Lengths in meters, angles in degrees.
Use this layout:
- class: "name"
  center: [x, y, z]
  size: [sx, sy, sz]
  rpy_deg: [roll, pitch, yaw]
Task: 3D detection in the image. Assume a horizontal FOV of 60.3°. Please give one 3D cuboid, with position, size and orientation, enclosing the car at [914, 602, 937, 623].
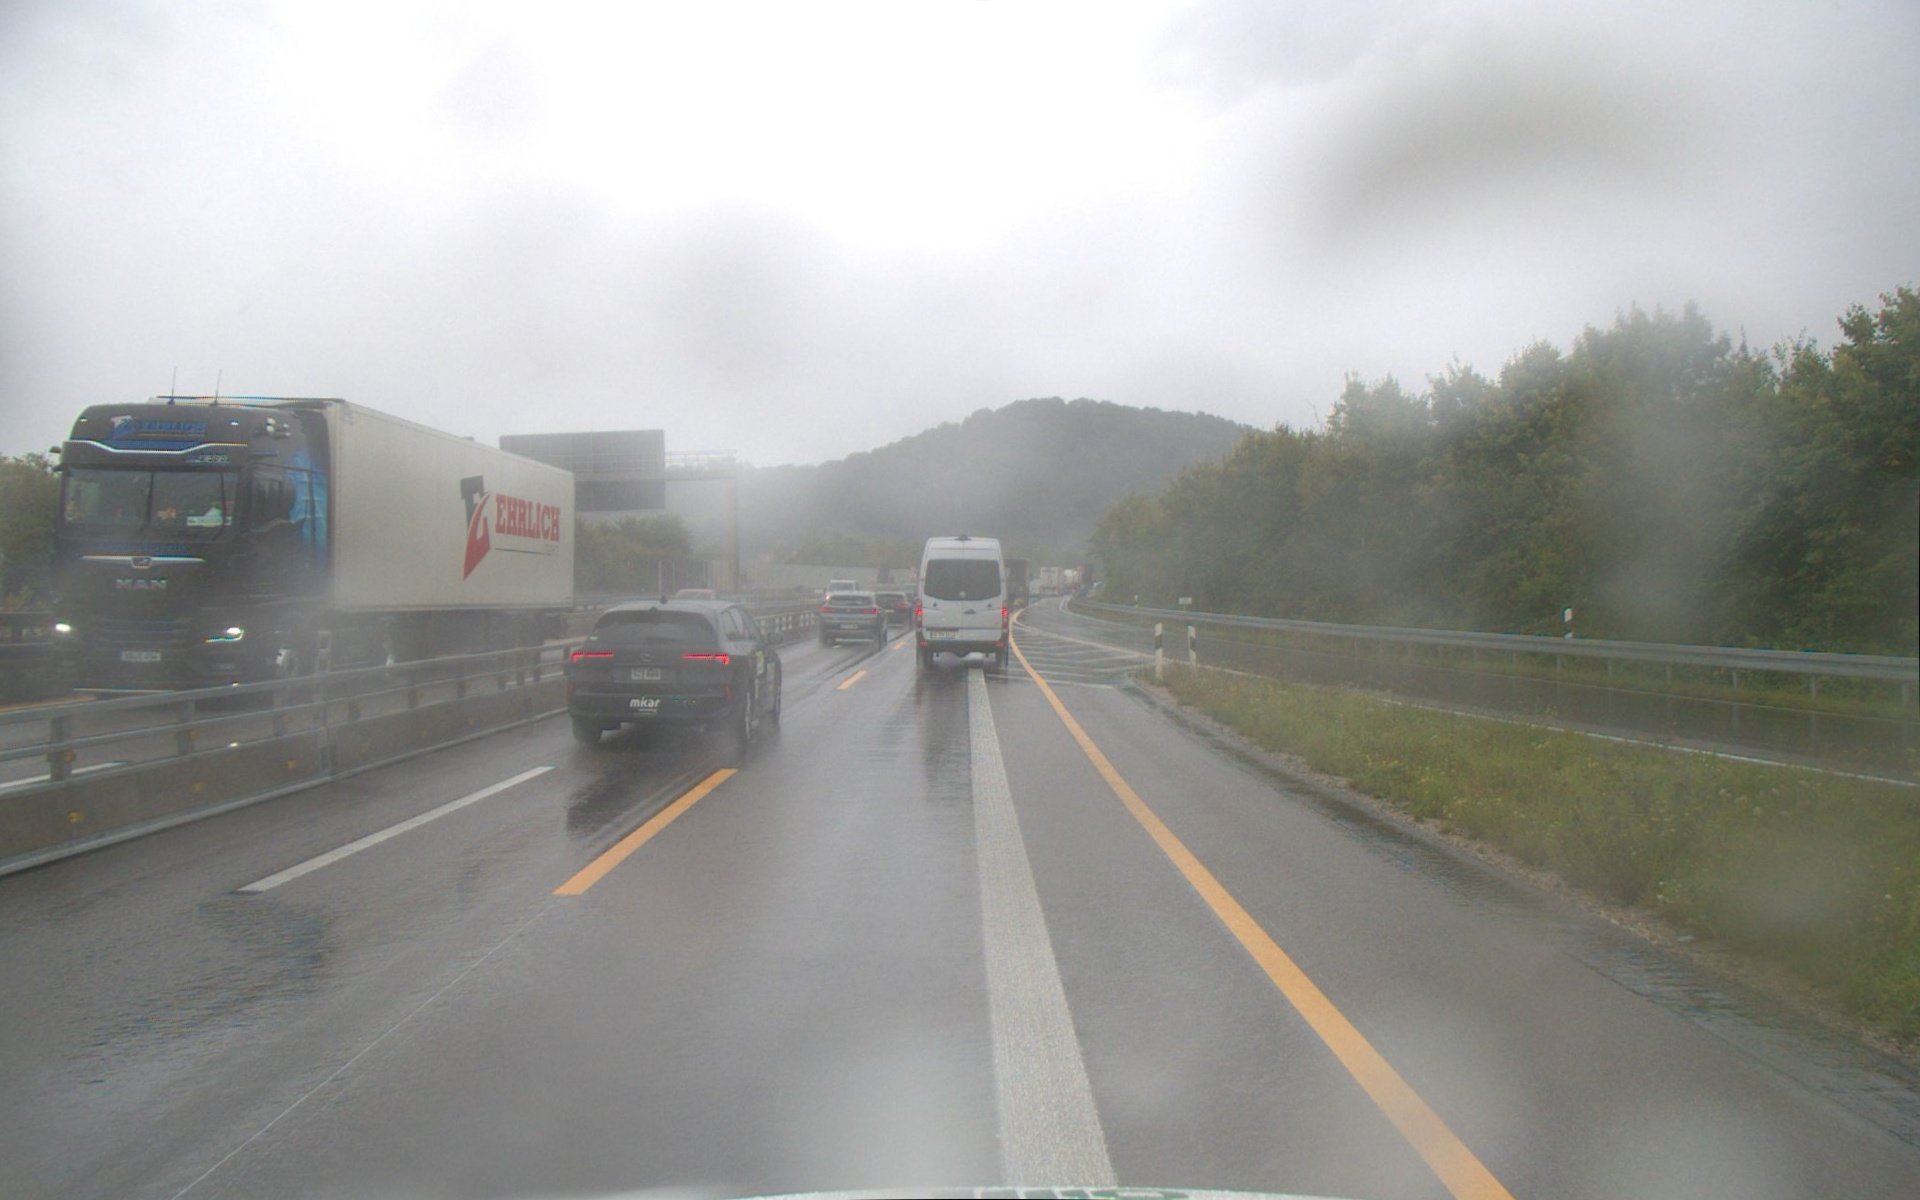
- class: "car"
  center: [-1.905, 0.688, 91.645]
  size: [1.237, 1.097, 3.254]
  rpy_deg: [0, 0, 0]

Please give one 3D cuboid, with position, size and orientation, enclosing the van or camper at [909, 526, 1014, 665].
- class: "van or camper"
  center: [0.027, -0.086, 35.625]
  size: [2.095, 2.769, 4.648]
  rpy_deg: [0, 0, 0]

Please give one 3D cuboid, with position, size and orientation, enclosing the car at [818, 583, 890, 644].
- class: "car"
  center: [-3.016, 0.383, 47.741]
  size: [1.829, 1.688, 3.988]
  rpy_deg: [0, 0, 0]

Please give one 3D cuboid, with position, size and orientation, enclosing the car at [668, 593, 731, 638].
- class: "car"
  center: [-9.261, 0.546, 59.057]
  size: [1.575, 1.530, 4.216]
  rpy_deg: [2, 0, 0]

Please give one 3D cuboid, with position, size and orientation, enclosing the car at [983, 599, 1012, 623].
- class: "car"
  center: [2.112, 0.612, 92.691]
  size: [1.357, 1.278, 3.120]
  rpy_deg: [0, 0, -4]

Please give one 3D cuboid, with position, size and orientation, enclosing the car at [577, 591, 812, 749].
- class: "car"
  center: [-2.692, 0.664, 17.848]
  size: [1.900, 1.452, 4.758]
  rpy_deg: [1, 0, -2]

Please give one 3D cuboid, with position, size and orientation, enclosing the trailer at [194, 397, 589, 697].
- class: "trailer"
  center: [-9.710, -0.725, 30.505]
  size: [2.833, 4.361, 12.893]
  rpy_deg: [0, 0, 0]

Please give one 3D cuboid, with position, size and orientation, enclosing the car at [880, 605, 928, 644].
- class: "car"
  center: [-2.258, 0.975, 67.363]
  size: [1.814, 1.527, 4.000]
  rpy_deg: [0, 0, 0]

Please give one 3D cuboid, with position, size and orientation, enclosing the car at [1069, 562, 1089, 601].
- class: "car"
  center: [13.177, -1.977, 182.970]
  size: [2.015, 4.265, 6.748]
  rpy_deg: [0, 0, 2]

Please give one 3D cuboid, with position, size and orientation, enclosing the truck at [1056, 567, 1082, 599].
- class: "truck"
  center: [17.206, -2.615, 259.804]
  size: [3.846, 4.868, 9.912]
  rpy_deg: [1, 0, 5]

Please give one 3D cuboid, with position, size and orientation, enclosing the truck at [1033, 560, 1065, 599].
- class: "truck"
  center: [11.922, -2.698, 221.428]
  size: [3.846, 4.868, 9.912]
  rpy_deg: [1, 0, 5]

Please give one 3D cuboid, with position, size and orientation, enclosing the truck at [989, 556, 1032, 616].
- class: "truck"
  center: [4.209, -1.118, 140.279]
  size: [3.252, 4.868, 9.906]
  rpy_deg: [1, 0, 0]

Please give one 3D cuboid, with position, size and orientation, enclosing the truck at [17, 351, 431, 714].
- class: "truck"
  center: [-9.738, -0.780, 22.791]
  size: [2.829, 4.306, 6.326]
  rpy_deg: [0, -1, 0]

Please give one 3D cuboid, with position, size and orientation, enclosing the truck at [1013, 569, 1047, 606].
- class: "truck"
  center: [7.628, -1.287, 182.085]
  size: [3.252, 3.827, 9.906]
  rpy_deg: [1, 0, 0]
